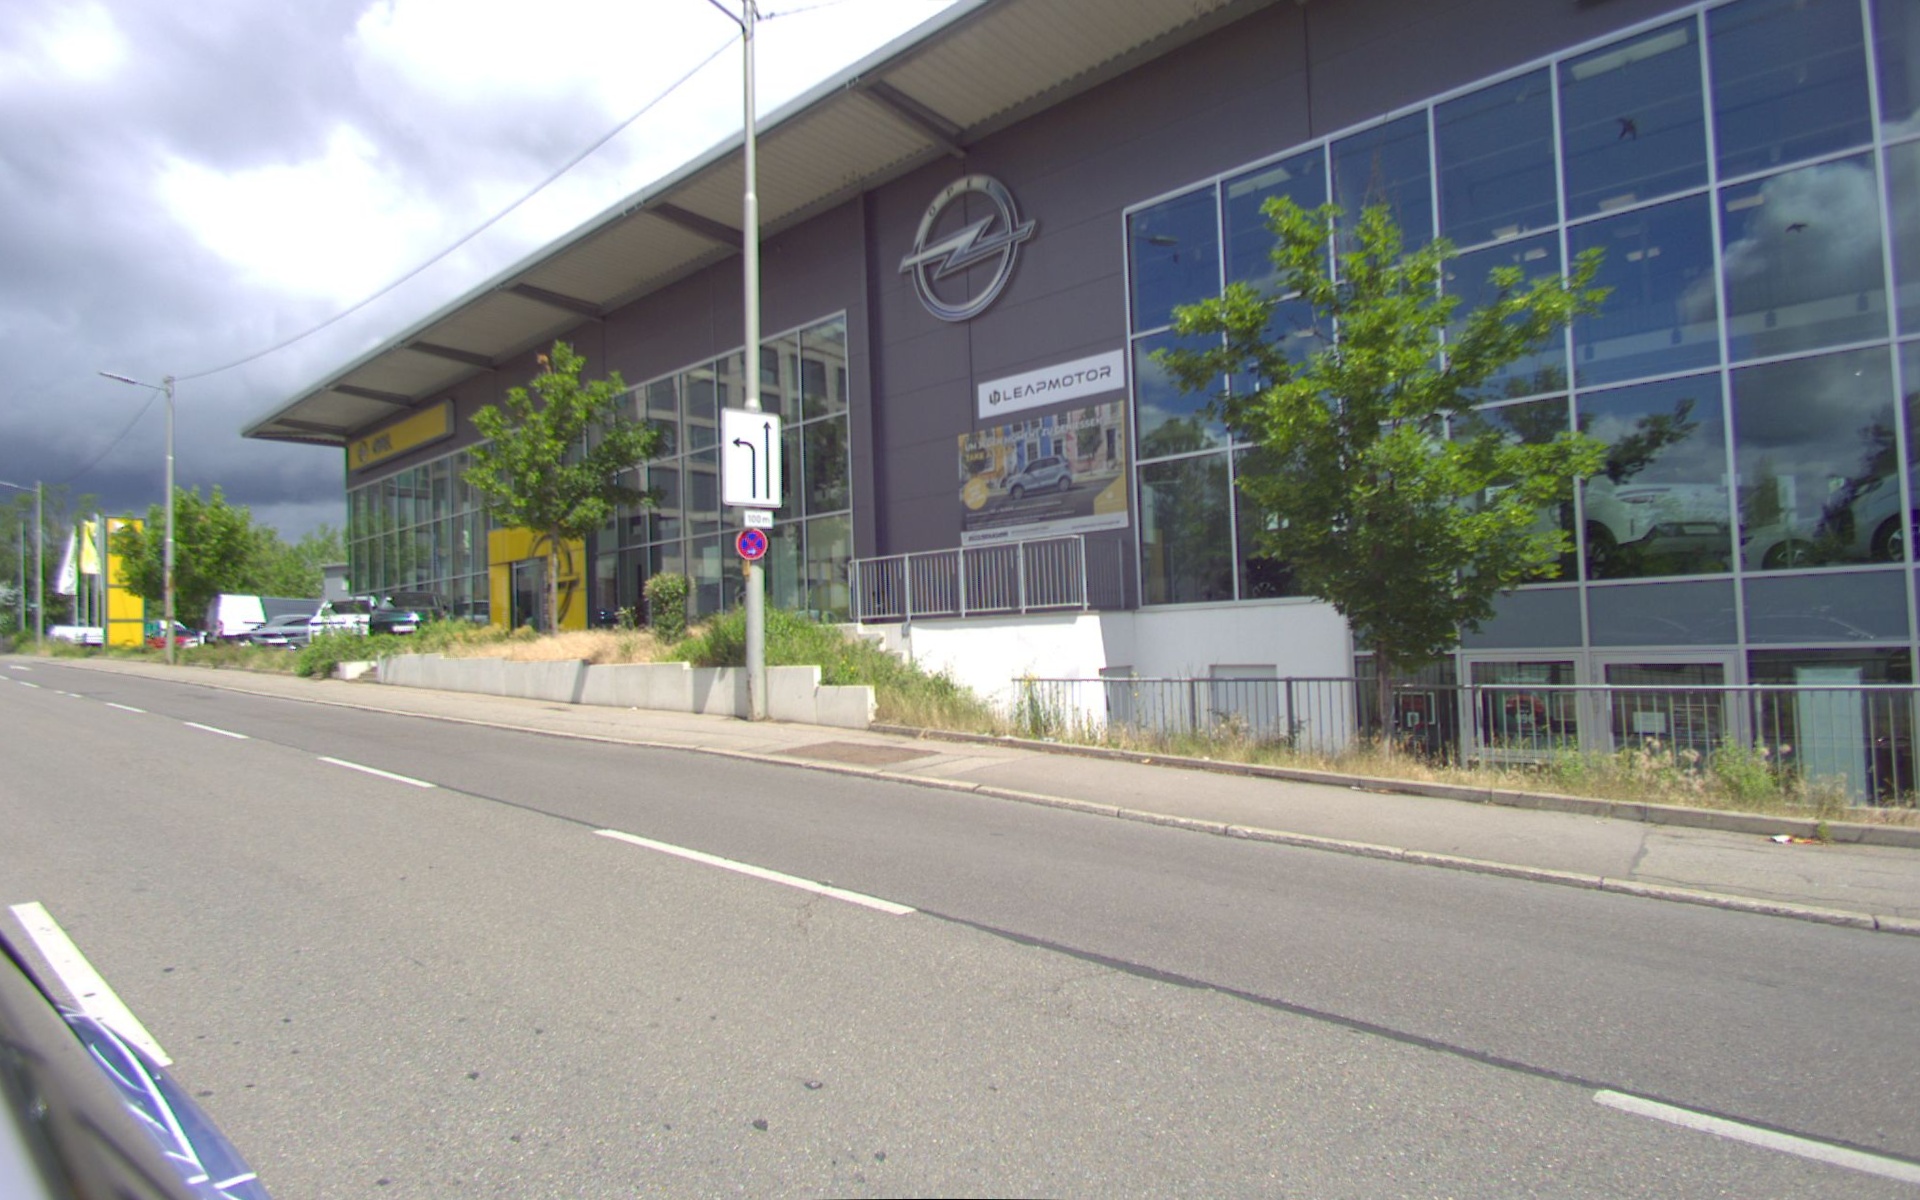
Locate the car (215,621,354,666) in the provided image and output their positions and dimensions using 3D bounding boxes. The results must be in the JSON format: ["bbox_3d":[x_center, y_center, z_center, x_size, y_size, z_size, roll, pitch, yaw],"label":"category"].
[{"bbox_3d":[-25.738,1.646,38.680,1.792,1.625,4.064,-2,-2,32],"label":"car"}]

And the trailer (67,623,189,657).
[{"bbox_3d":[-45.330,2.146,55.231,2.092,1.765,4.776,-2,-2,37],"label":"trailer"}]

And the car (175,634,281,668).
[{"bbox_3d":[-35.532,2.453,49.169,1.559,1.539,3.897,-2,-2,38],"label":"car"}]

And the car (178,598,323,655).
[{"bbox_3d":[-29.330,1.065,41.928,2.176,2.211,4.477,-1,-1,38],"label":"car"}]

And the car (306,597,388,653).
[{"bbox_3d":[-19.218,0.780,31.872,1.767,1.625,4.122,0,-1,-25],"label":"car"}]

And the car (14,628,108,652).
[{"bbox_3d":[-57.683,2.565,64.997,2.093,1.493,4.200,-2,-2,38],"label":"car"}]

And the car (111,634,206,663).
[{"bbox_3d":[-42.026,2.534,53.105,1.814,1.420,3.621,-2,-2,42],"label":"car"}]

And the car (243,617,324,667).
[{"bbox_3d":[-23.495,1.433,35.284,1.767,1.625,4.122,1,-2,-26],"label":"car"}]

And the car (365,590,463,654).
[{"bbox_3d":[-15.388,0.667,28.709,1.790,1.625,4.122,3,-3,-20],"label":"car"}]
